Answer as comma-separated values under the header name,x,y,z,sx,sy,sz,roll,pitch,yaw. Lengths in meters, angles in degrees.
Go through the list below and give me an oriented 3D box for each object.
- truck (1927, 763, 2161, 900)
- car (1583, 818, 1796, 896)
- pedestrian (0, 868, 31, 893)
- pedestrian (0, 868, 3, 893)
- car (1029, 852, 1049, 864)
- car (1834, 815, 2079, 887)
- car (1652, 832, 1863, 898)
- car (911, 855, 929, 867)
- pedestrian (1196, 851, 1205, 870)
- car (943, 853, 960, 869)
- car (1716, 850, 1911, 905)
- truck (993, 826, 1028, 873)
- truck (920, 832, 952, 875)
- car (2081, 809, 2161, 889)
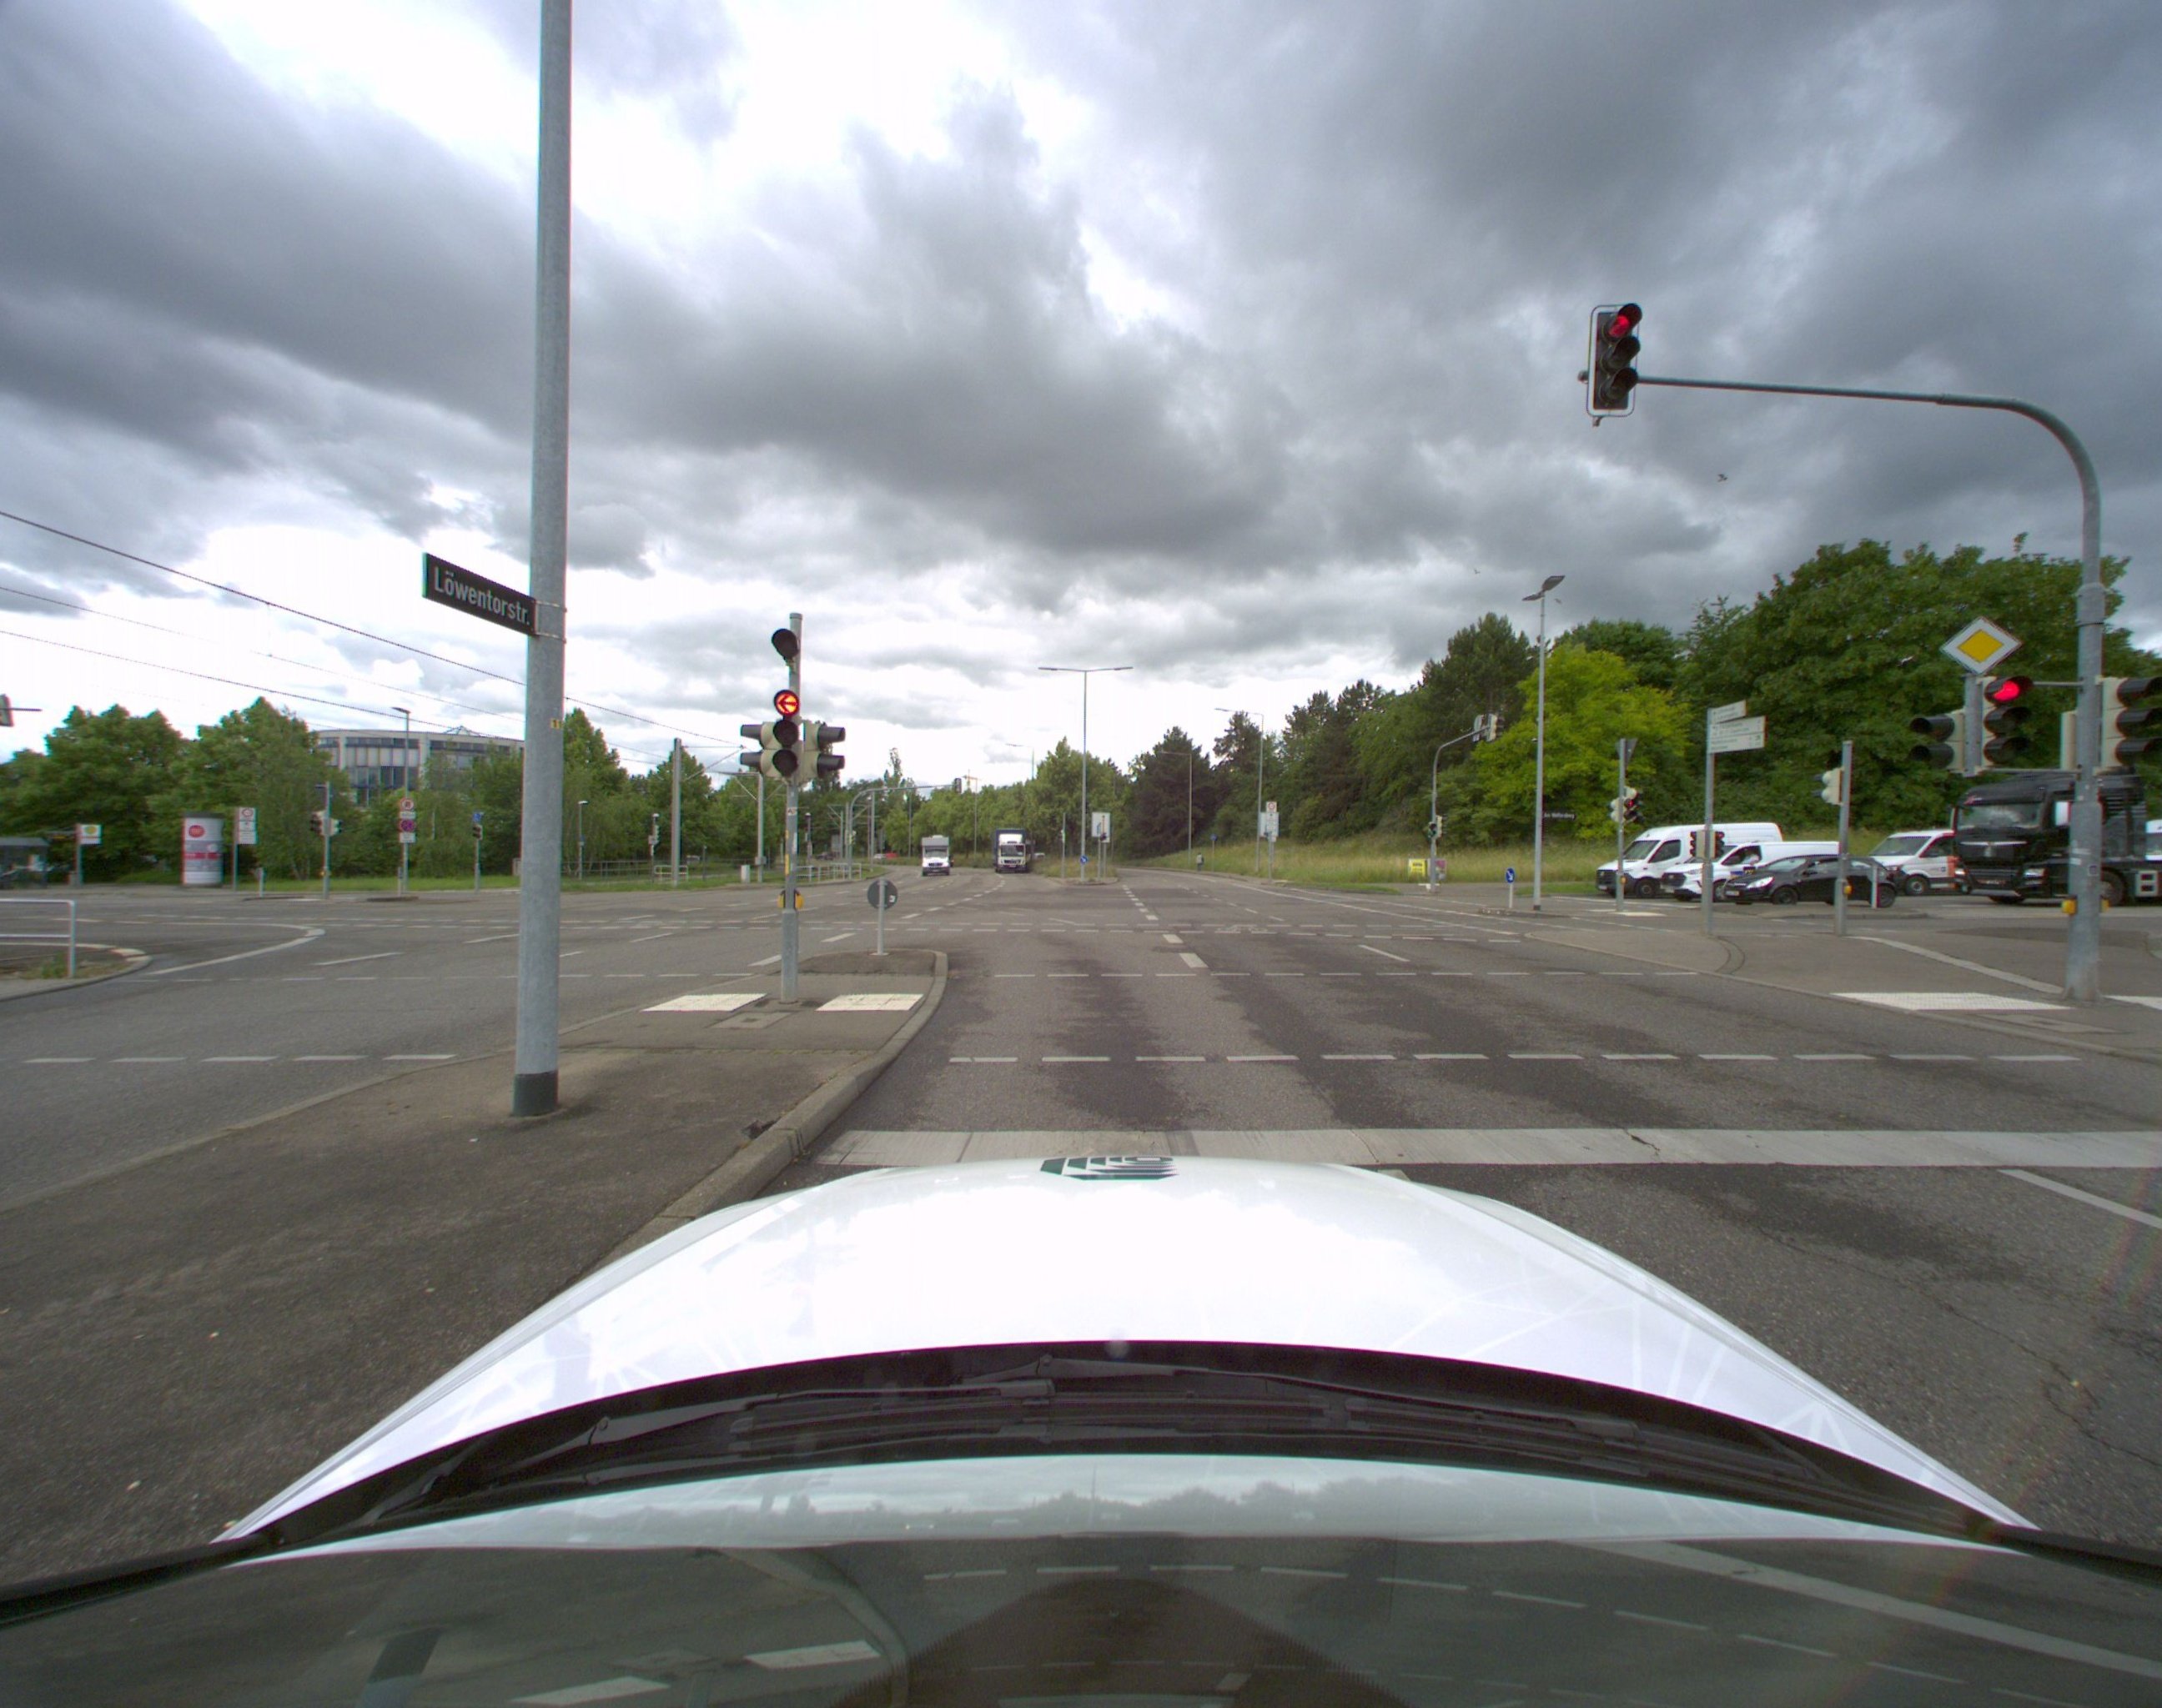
name,x,y,z,sx,sy,sz,roll,pitch,yaw
truck,28.034,-0.568,22.493,5.915,3.518,3.077,-1,-1,3
car,21.817,0.118,29.431,5.915,2.659,2.230,-1,-1,3
pedestrian,-56.149,1.390,42.876,0.774,1.252,0.769,-1,0,-27
pedestrian,-57.818,1.406,43.122,0.582,1.316,0.734,-1,0,17
car,-5.966,0.578,115.347,2.000,1.728,3.703,0,0,-19
car,30.748,-0.074,28.786,5.913,2.386,2.231,-1,-1,4
car,21.672,0.380,26.268,4.952,1.991,2.121,-1,-2,2
car,-23.456,0.982,118.573,2.001,1.783,3.972,0,0,-21
pedestrian,10.516,0.565,71.855,0.736,1.717,0.625,0,0,1
car,-16.940,0.893,106.604,1.994,2.013,4.591,0,0,-11
car,20.287,0.641,22.680,3.836,1.442,1.638,-1,0,4
truck,-6.236,-0.345,70.796,2.776,3.804,8.369,0,0,-7
truck,-11.155,-0.049,62.886,2.105,3.010,6.252,-4,0,-10
car,39.899,-0.189,28.523,6.635,2.720,2.230,-1,-1,3
